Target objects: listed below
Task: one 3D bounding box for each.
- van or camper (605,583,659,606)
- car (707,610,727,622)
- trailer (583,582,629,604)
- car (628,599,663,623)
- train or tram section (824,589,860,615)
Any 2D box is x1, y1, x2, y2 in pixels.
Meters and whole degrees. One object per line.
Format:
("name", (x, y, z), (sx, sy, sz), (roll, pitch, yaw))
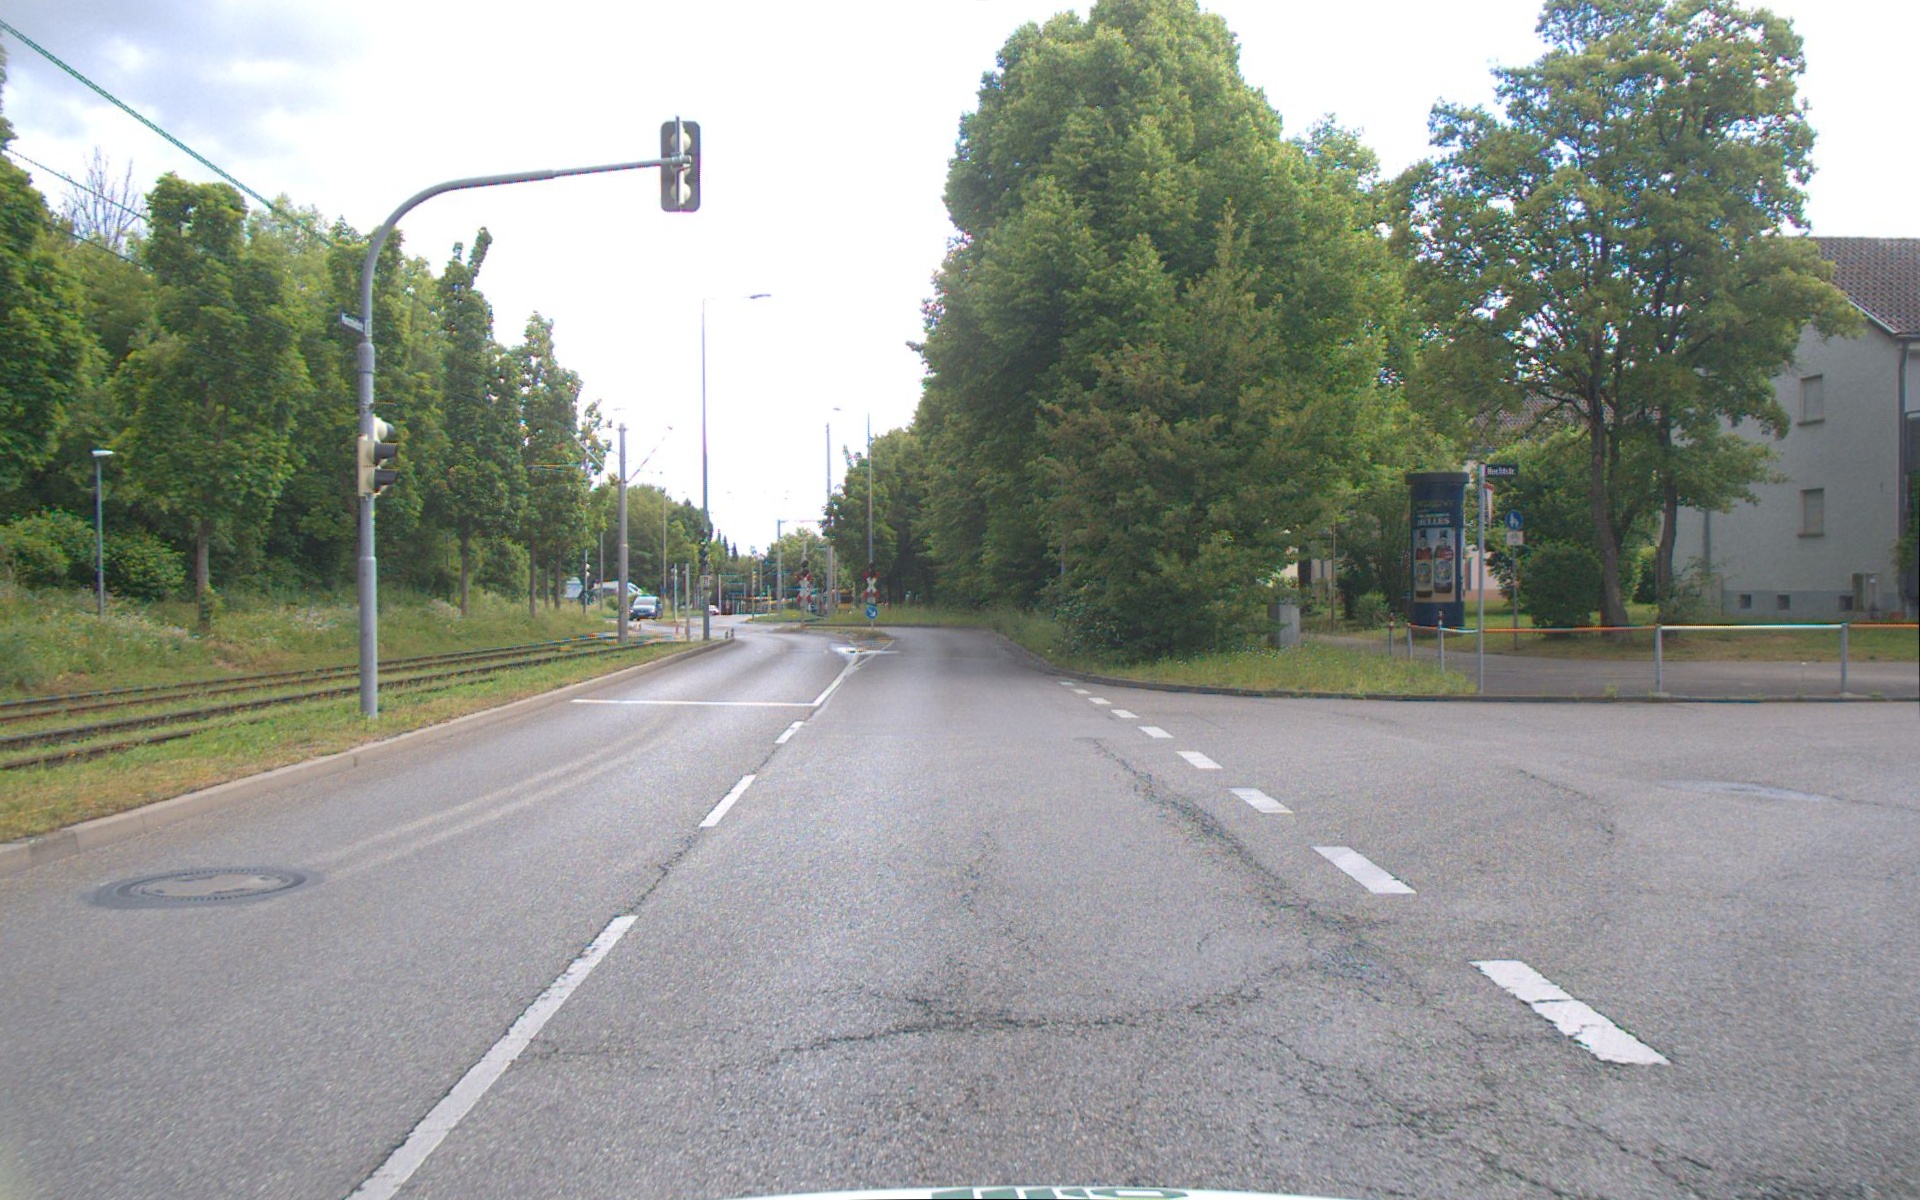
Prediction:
("van or camper", (-33.698, -0.564, 170.122), (5.229, 2.241, 1.998), (0, 0, -5))
("car", (-32.163, 2.093, 218.861), (1.953, 1.463, 4.425), (-2, 0, -1))
("trailer", (-33.303, -0.697, 155.690), (3.907, 2.049, 1.907), (0, 0, -2))
("car", (-21.480, 0.716, 113.060), (1.830, 1.547, 4.236), (0, 1, -4))
("train or tram section", (-16.728, 0.317, 231.268), (2.951, 3.369, 34.649), (0, 0, -8))
